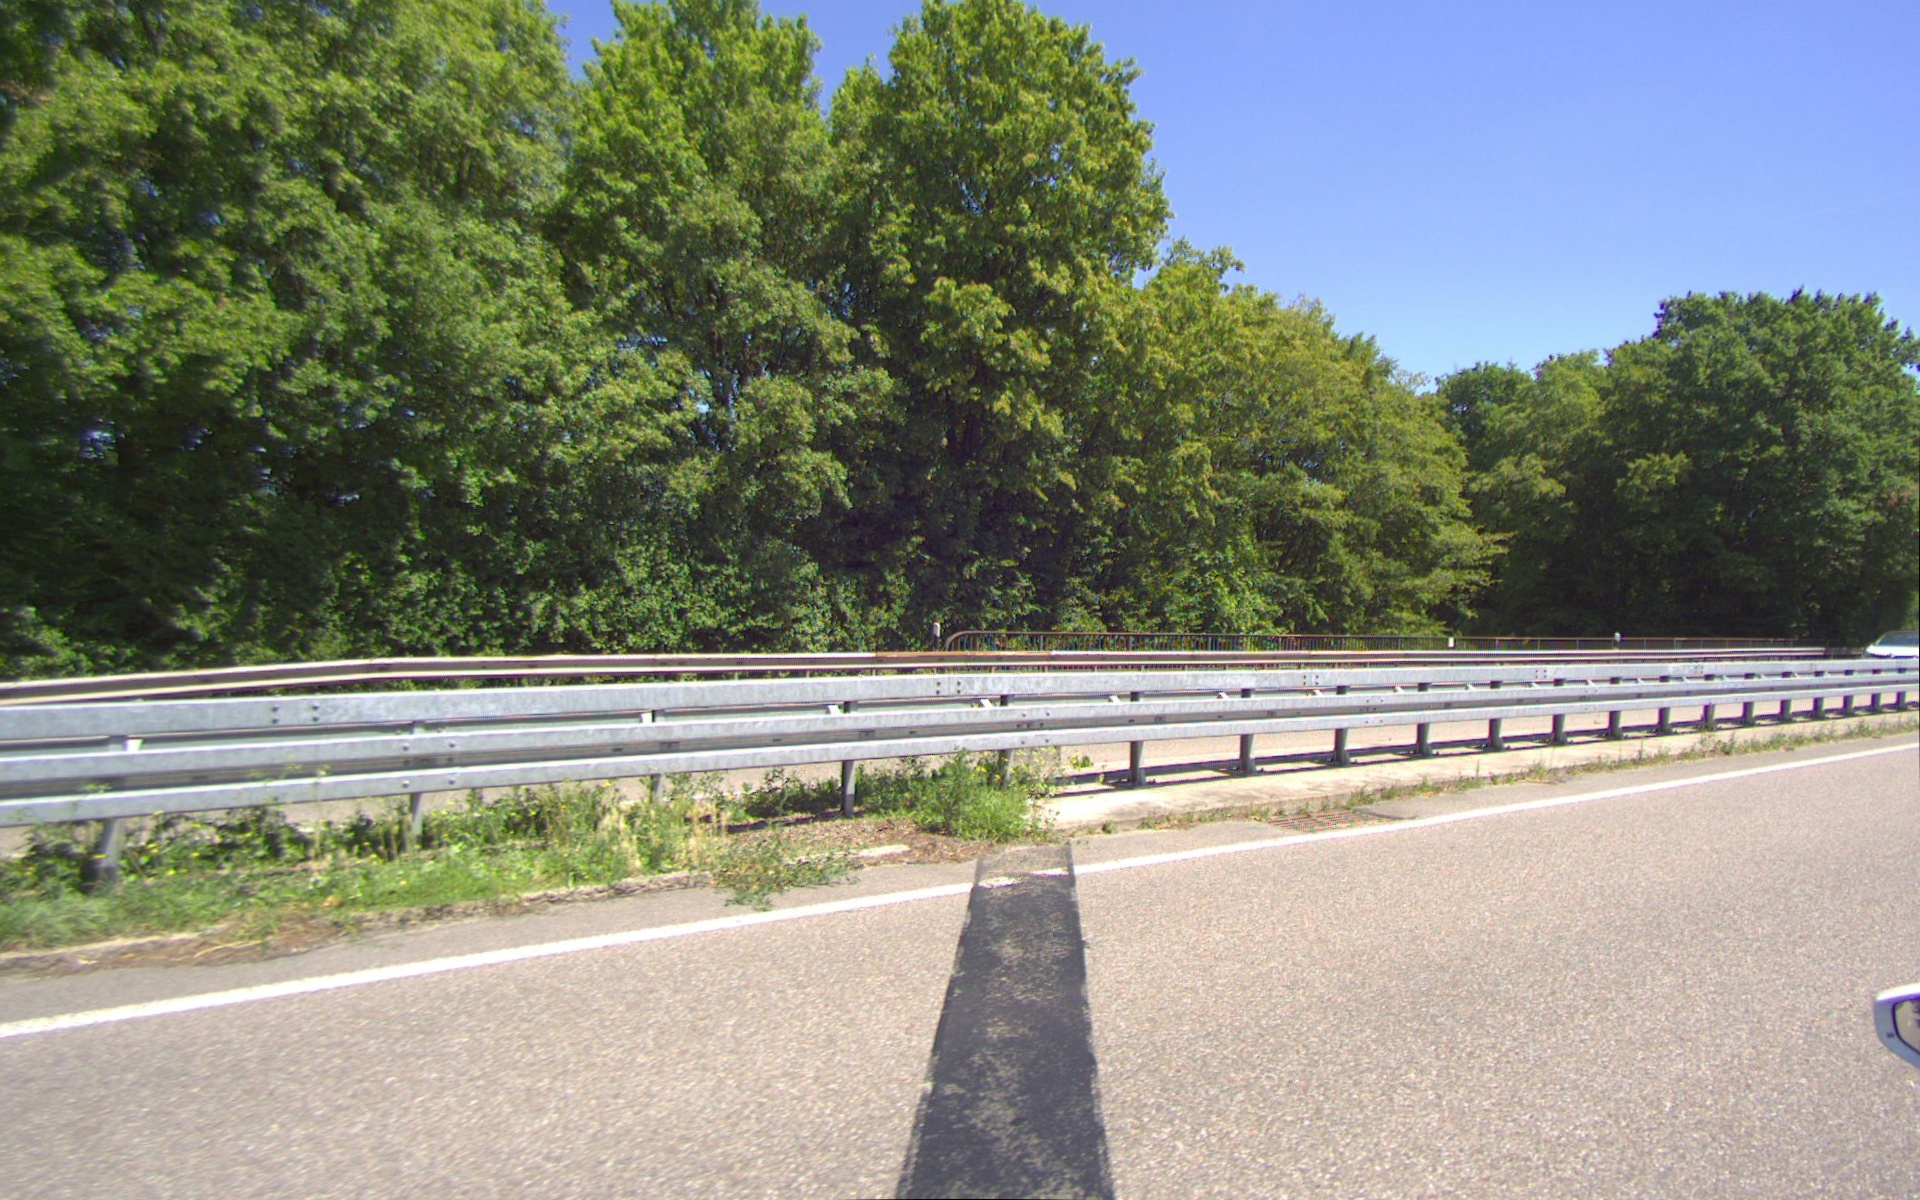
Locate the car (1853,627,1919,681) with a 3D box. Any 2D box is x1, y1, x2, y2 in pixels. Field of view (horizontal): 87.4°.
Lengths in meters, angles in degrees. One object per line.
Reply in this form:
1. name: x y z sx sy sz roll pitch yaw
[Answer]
1. car: 30.597 1.698 32.426 4.175 1.628 1.641 1 -1 -33
